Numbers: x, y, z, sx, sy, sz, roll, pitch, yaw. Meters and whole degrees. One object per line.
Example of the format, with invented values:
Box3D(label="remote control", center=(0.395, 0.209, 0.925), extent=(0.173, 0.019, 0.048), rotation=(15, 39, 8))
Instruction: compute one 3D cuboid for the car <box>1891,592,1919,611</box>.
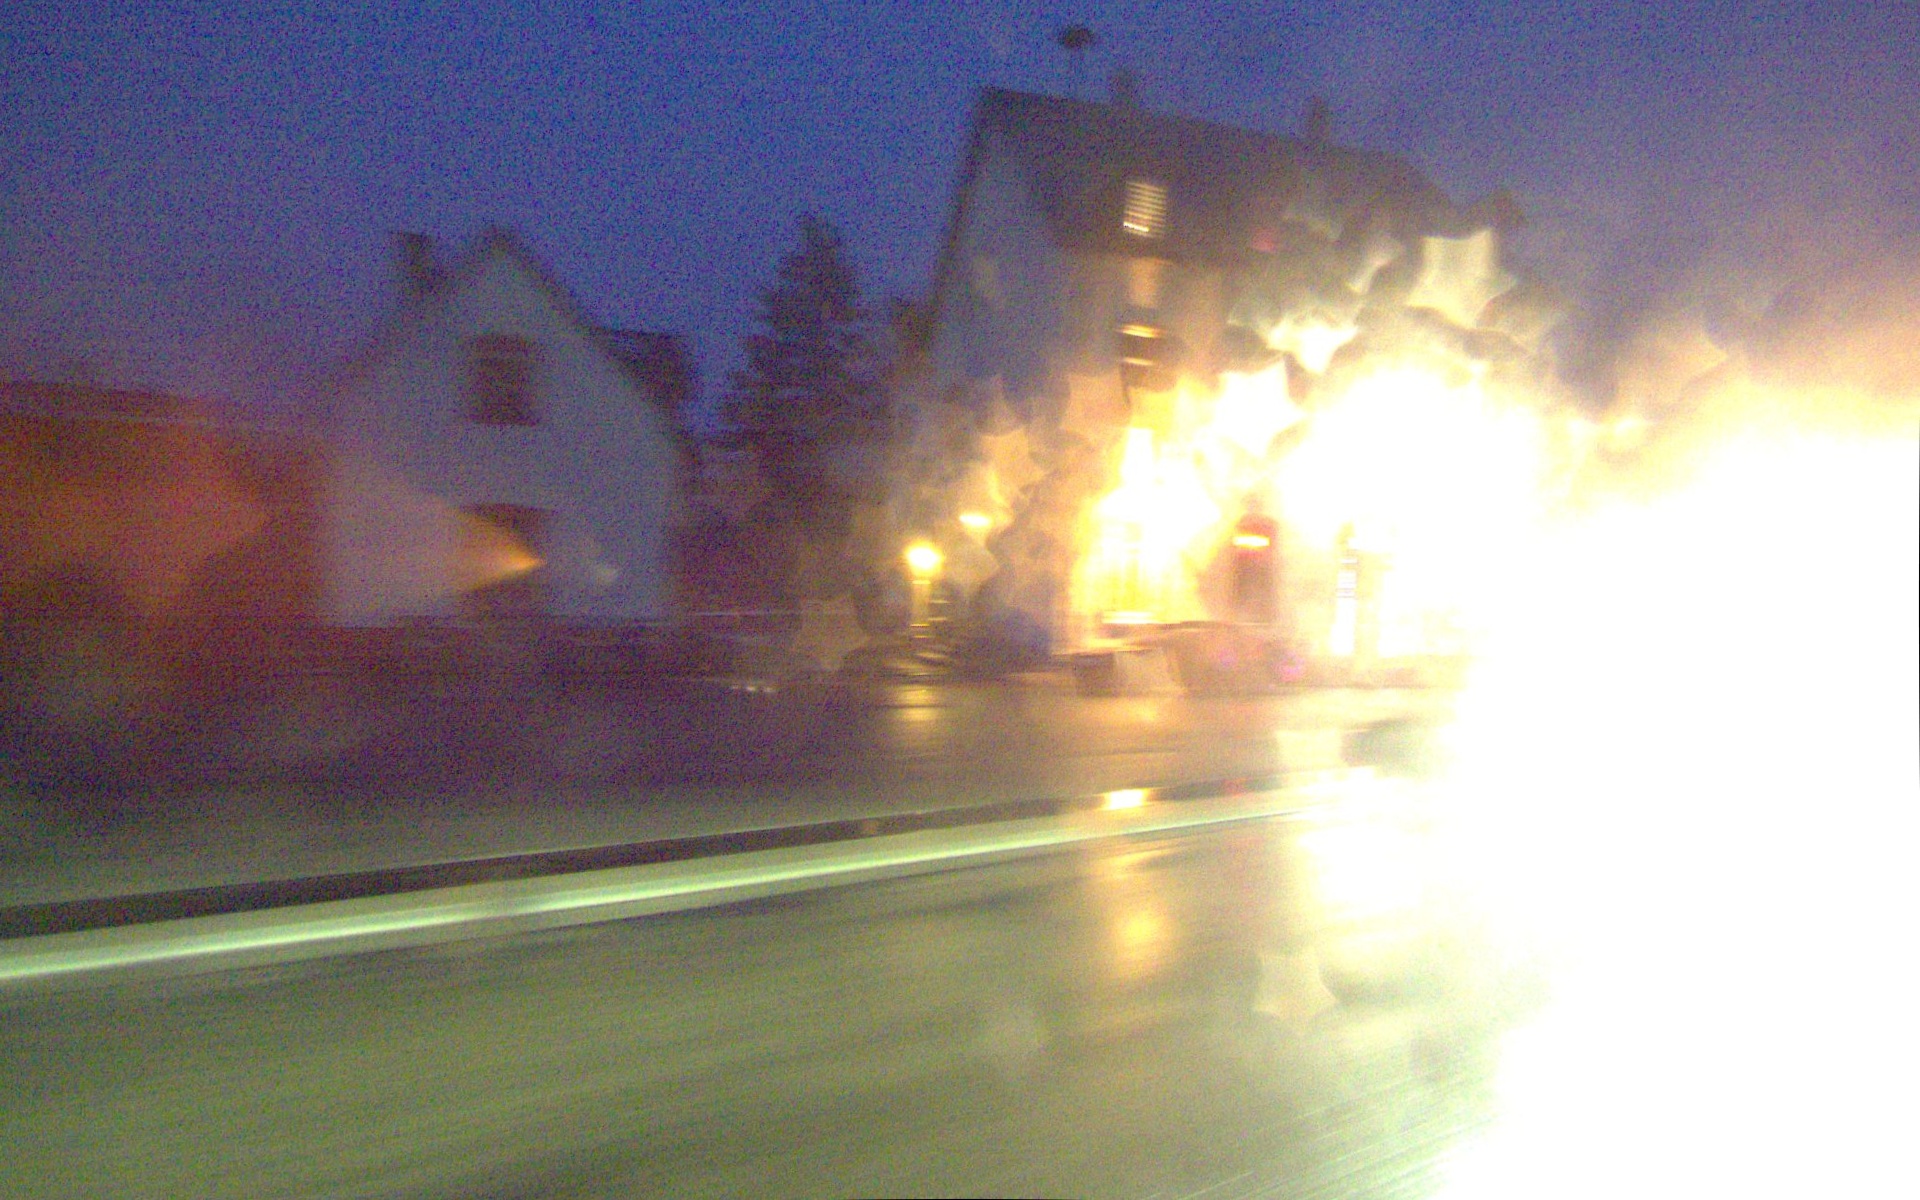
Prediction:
Box3D(label="car", center=(77.479, 0.156, 82.055), extent=(1.614, 1.531, 4.102), rotation=(-1, -1, 36))

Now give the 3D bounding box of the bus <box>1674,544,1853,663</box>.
Box3D(label="bus", center=(31.025, 0.057, 39.511), extent=(2.849, 3.920, 13.041), rotation=(2, 1, 27))

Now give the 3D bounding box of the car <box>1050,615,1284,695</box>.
Box3D(label="car", center=(3.925, 1.017, 19.183), extent=(4.082, 1.416, 1.688), rotation=(1, -2, -17))

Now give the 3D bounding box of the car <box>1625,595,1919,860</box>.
Box3D(label="car", center=(7.295, 0.847, 7.804), extent=(4.352, 1.542, 1.944), rotation=(2, 1, -33))

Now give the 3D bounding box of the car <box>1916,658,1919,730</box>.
Box3D(label="car", center=(14.875, 1.043, 13.868), extent=(3.831, 1.496, 1.700), rotation=(1, 2, -36))

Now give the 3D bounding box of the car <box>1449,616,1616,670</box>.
Box3D(label="car", center=(17.337, 1.292, 30.426), extent=(4.666, 1.394, 1.840), rotation=(3, 1, -21))
